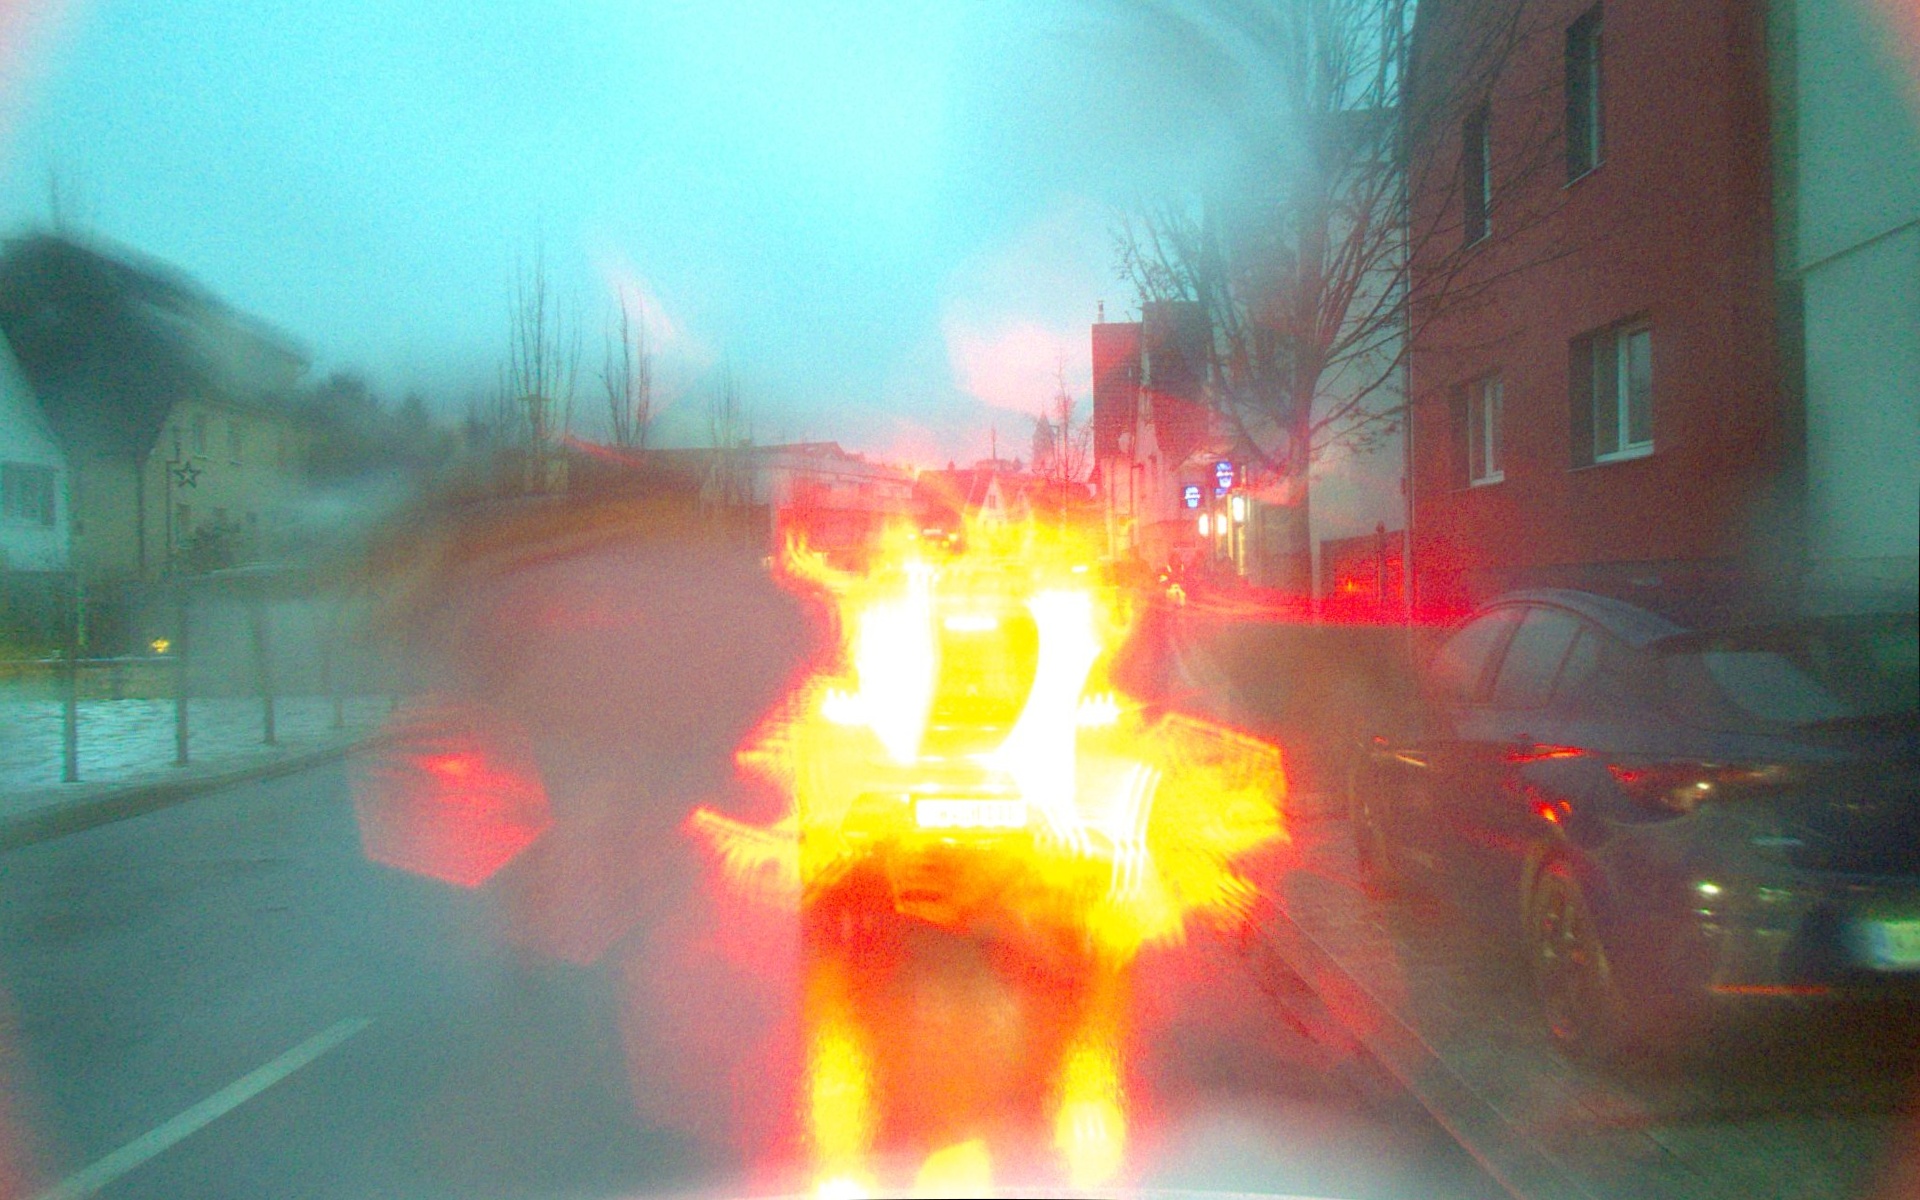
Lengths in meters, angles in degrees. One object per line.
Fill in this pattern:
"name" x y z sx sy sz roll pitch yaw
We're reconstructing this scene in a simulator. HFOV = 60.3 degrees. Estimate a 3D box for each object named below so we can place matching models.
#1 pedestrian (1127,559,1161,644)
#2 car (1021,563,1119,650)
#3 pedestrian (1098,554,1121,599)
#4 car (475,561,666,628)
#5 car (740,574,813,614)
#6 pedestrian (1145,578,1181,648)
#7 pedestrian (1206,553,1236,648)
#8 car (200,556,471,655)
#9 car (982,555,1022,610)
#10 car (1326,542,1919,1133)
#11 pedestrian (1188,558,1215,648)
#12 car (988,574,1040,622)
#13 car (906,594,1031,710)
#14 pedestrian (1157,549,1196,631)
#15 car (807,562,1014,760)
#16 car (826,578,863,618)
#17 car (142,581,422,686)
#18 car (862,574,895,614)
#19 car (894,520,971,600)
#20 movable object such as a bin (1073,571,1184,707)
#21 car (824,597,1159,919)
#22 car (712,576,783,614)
"pedestrian" 3.817 0.033 34.320 0.561 1.729 0.653 -3 0 1
"car" 2.314 0.114 35.675 1.700 1.722 4.385 -1 1 -1
"pedestrian" 5.213 -0.814 57.811 0.607 1.542 0.731 -1 2 -14
"car" -10.080 -0.139 43.072 4.533 1.697 1.999 0 0 -3
"car" -10.772 -0.327 96.898 4.310 2.204 1.987 -1 -2 44
"pedestrian" 4.979 0.305 40.626 0.607 1.655 0.903 -1 2 -14
"pedestrian" 4.696 0.017 29.763 0.517 1.682 0.954 0 -2 9
"car" -10.041 0.083 26.749 3.713 1.549 1.716 0 0 6
"car" 2.003 -0.807 80.025 1.832 2.512 4.443 1 -2 1
"car" 2.731 0.575 6.467 1.693 1.490 4.200 -3 1 2
"pedestrian" 5.002 0.053 34.244 0.517 1.831 0.865 0 1 9
"car" 2.169 -0.082 67.615 1.957 1.897 4.083 0 0 0
"car" 0.086 0.626 21.852 1.509 1.354 3.311 1 1 -1
"pedestrian" 4.734 -0.235 36.137 0.697 1.745 1.035 -2 1 13
"car" -0.434 0.489 15.751 1.730 1.657 3.585 1 1 -1
"car" -6.269 -0.072 90.349 1.881 2.063 3.973 1 -2 -2
"car" -9.773 0.455 24.010 3.375 1.396 1.600 -1 1 -2
"car" -4.814 -0.313 98.290 1.881 2.254 3.973 1 -2 -2
"car" -1.166 -1.623 70.905 3.126 3.085 6.303 1 -2 -1
"movable object such as a bin" 1.953 0.427 19.361 1.106 1.445 1.418 -4 1 1
"car" 0.133 0.729 9.153 1.531 1.437 3.017 1 1 -1
"car" -12.050 -0.268 93.571 4.097 2.011 1.810 -1 -2 44
